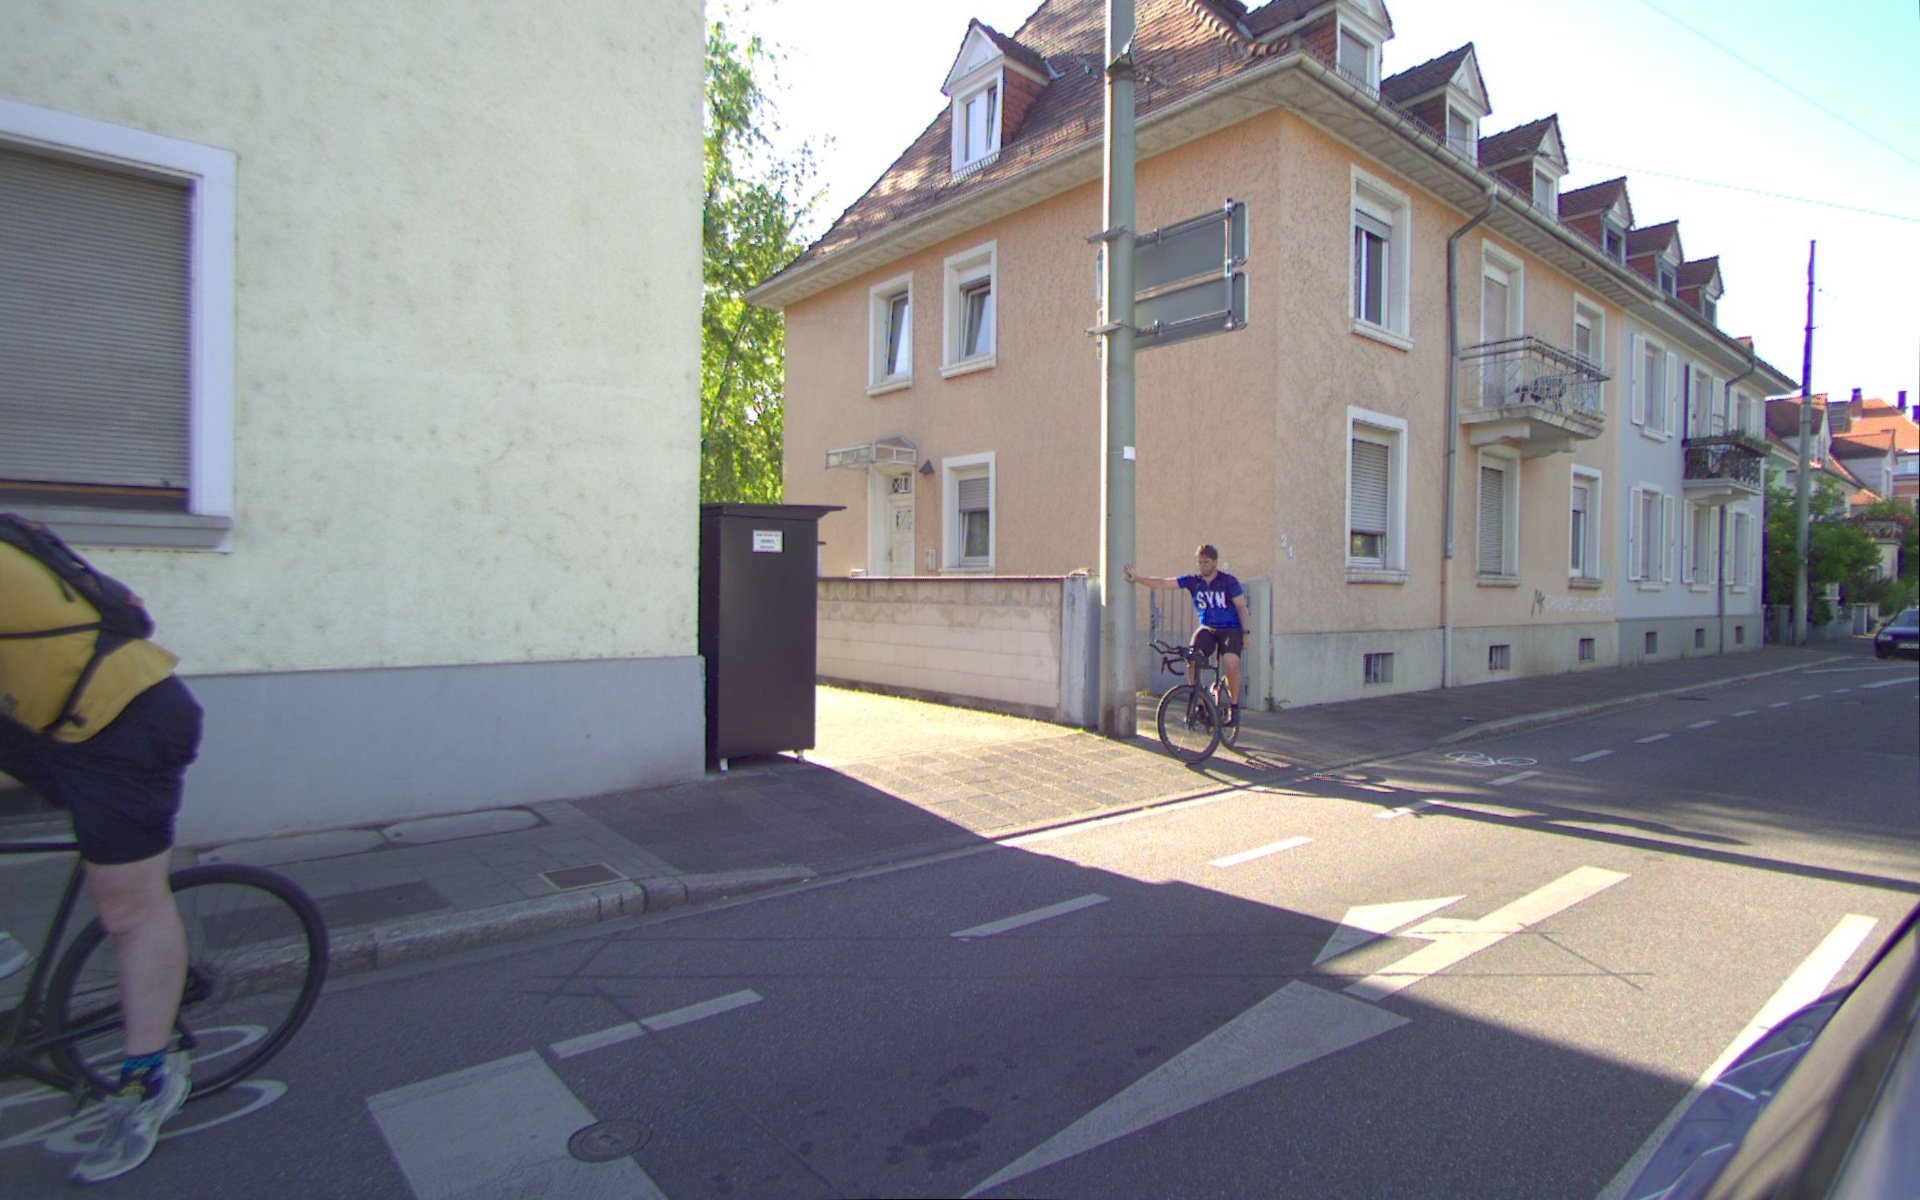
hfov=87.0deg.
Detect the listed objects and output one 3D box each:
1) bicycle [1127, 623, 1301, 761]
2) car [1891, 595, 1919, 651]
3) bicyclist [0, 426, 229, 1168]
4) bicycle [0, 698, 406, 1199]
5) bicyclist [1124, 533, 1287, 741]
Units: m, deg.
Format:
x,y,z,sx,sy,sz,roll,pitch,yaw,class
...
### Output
x,y,z,sx,sy,sz,roll,pitch,yaw,class
2.340,0.787,9.222,1.689,1.064,0.595,0,6,-41,bicycle
26.634,0.607,27.326,3.932,1.438,1.845,0,1,-42,car
-2.467,0.458,2.571,0.939,1.743,0.582,0,0,-41,bicyclist
-2.471,0.890,2.574,1.778,1.101,0.611,0,1,-41,bicycle
2.283,0.303,9.477,0.838,1.758,1.072,0,6,-40,bicyclist
